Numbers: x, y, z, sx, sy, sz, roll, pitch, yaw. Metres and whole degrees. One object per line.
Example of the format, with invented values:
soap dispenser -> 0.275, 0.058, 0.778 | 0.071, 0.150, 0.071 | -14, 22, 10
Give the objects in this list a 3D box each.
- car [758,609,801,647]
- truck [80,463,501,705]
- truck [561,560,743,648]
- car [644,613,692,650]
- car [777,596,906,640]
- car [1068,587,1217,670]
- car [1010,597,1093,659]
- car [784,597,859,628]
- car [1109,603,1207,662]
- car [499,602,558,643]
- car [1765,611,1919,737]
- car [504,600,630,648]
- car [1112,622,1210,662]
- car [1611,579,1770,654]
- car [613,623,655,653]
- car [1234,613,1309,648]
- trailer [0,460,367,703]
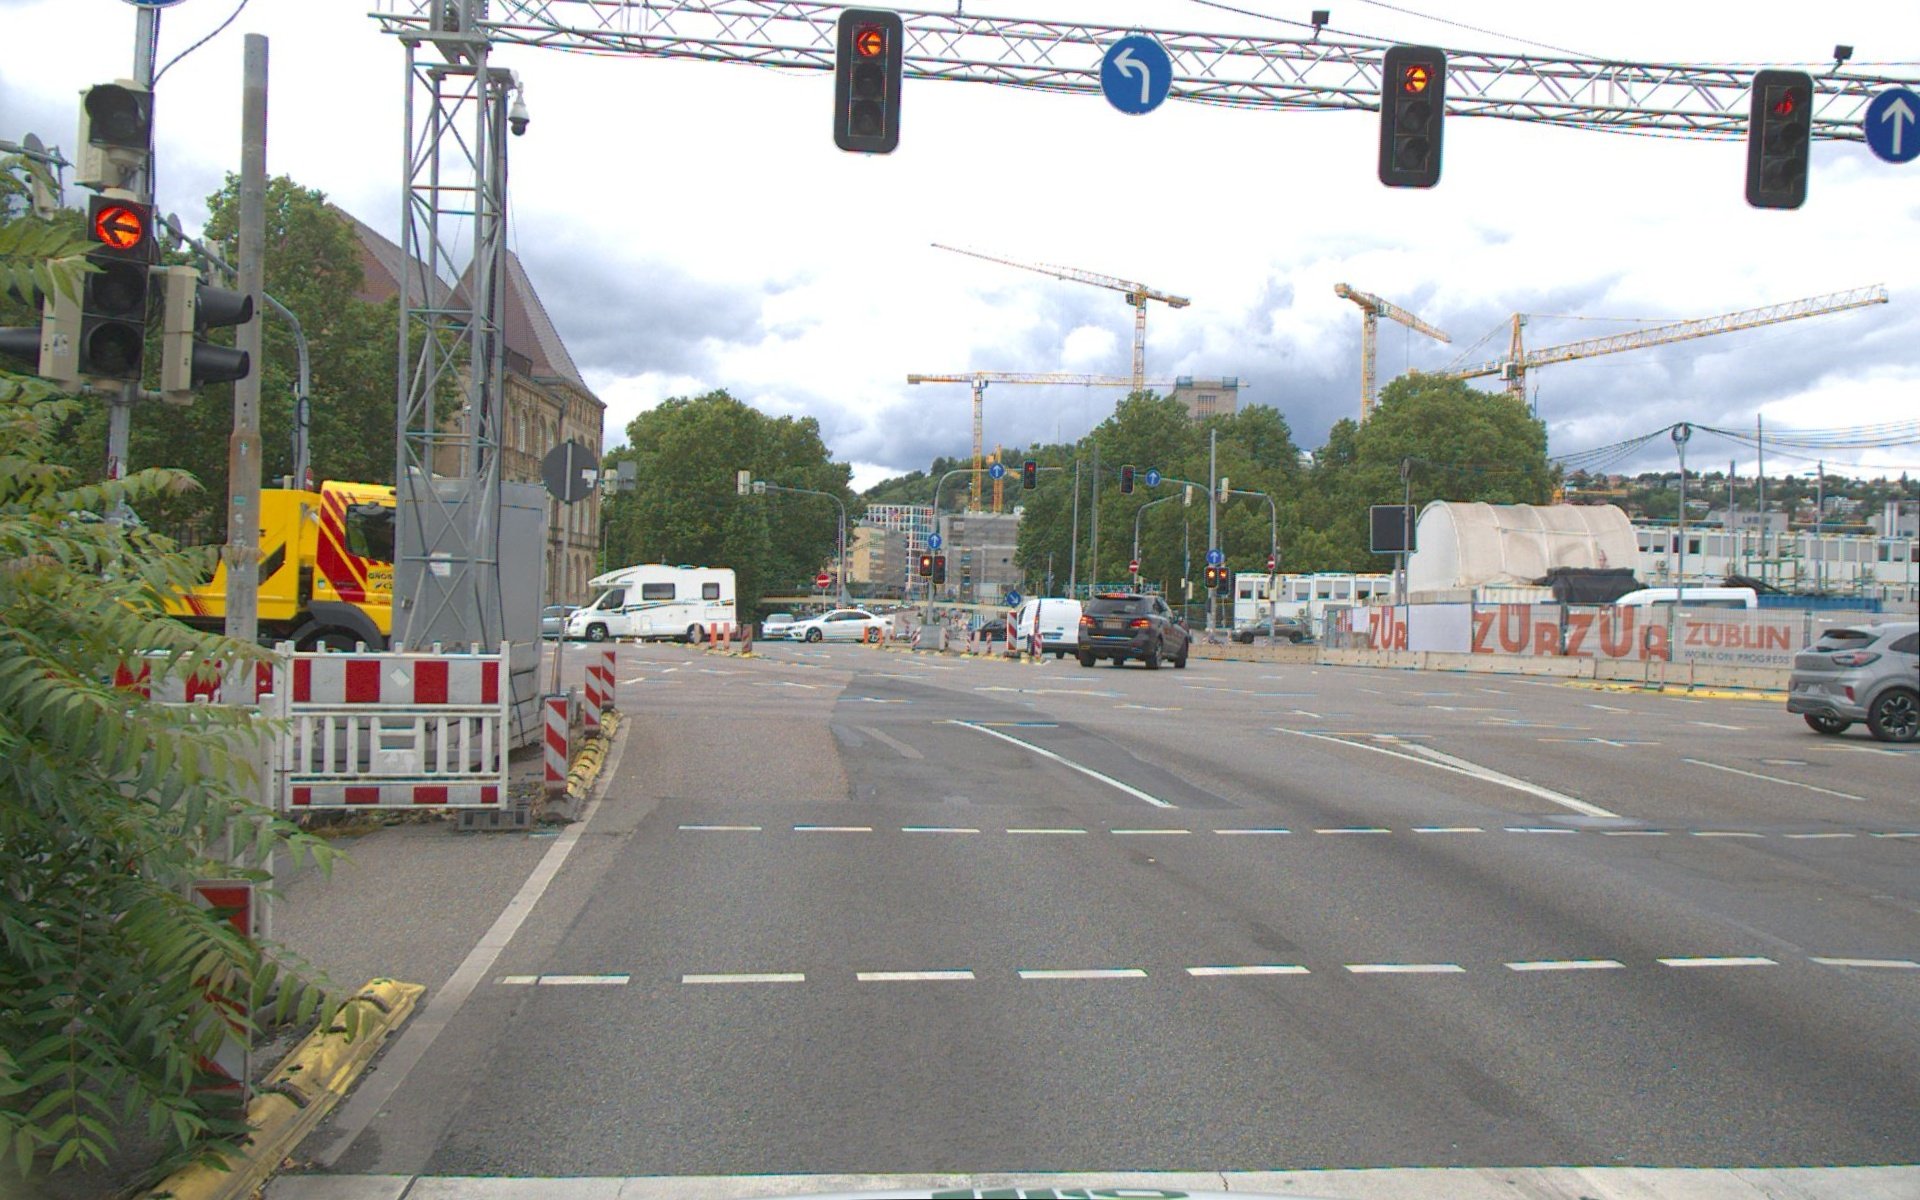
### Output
car -> -9.252, 1.434, 84.950 | 1.954, 1.870, 3.997 | 1, 0, -3
truck -> -8.236, -0.176, 20.824 | 4.120, 2.773, 2.861 | 1, 0, -2
truck -> -11.817, 0.170, 63.461 | 6.495, 3.201, 2.349 | 1, 0, -24
car -> -15.110, 1.609, 85.826 | 1.954, 1.870, 3.997 | 1, 0, -3
car -> -5.071, 0.773, 70.629 | 5.101, 1.816, 2.149 | 1, 0, -24
car -> 4.473, 0.674, 39.995 | 1.957, 1.866, 4.247 | 1, 0, 31
car -> 2.840, 0.851, 52.341 | 1.828, 1.865, 4.715 | 1, 0, -7
car -> -7.884, 0.726, 94.176 | 3.902, 1.691, 2.001 | 1, 0, 6
car -> 6.335, 1.024, 53.391 | 1.957, 1.790, 4.495 | 1, 0, -9
car -> -20.491, 1.060, 78.672 | 1.954, 1.870, 3.997 | 1, 0, -3
car -> 13.306, 0.975, 22.027 | 4.209, 1.567, 1.999 | 1, 0, -3
car -> -15.493, 0.955, 65.169 | 4.508, 1.806, 1.984 | 1, 0, -26
car -> 9.081, 1.887, 74.863 | 3.926, 1.713, 1.989 | 1, 0, -19
car -> 21.057, 0.454, 47.821 | 3.902, 2.049, 2.001 | 1, 0, 15
car -> -21.775, 2.541, 110.666 | 1.952, 1.870, 4.000 | 1, 0, 0
car -> 16.826, 1.637, 89.303 | 3.902, 1.758, 2.002 | 1, 0, 11
trailer -> -11.528, -0.238, 20.615 | 7.203, 2.773, 2.860 | 1, 0, -4
